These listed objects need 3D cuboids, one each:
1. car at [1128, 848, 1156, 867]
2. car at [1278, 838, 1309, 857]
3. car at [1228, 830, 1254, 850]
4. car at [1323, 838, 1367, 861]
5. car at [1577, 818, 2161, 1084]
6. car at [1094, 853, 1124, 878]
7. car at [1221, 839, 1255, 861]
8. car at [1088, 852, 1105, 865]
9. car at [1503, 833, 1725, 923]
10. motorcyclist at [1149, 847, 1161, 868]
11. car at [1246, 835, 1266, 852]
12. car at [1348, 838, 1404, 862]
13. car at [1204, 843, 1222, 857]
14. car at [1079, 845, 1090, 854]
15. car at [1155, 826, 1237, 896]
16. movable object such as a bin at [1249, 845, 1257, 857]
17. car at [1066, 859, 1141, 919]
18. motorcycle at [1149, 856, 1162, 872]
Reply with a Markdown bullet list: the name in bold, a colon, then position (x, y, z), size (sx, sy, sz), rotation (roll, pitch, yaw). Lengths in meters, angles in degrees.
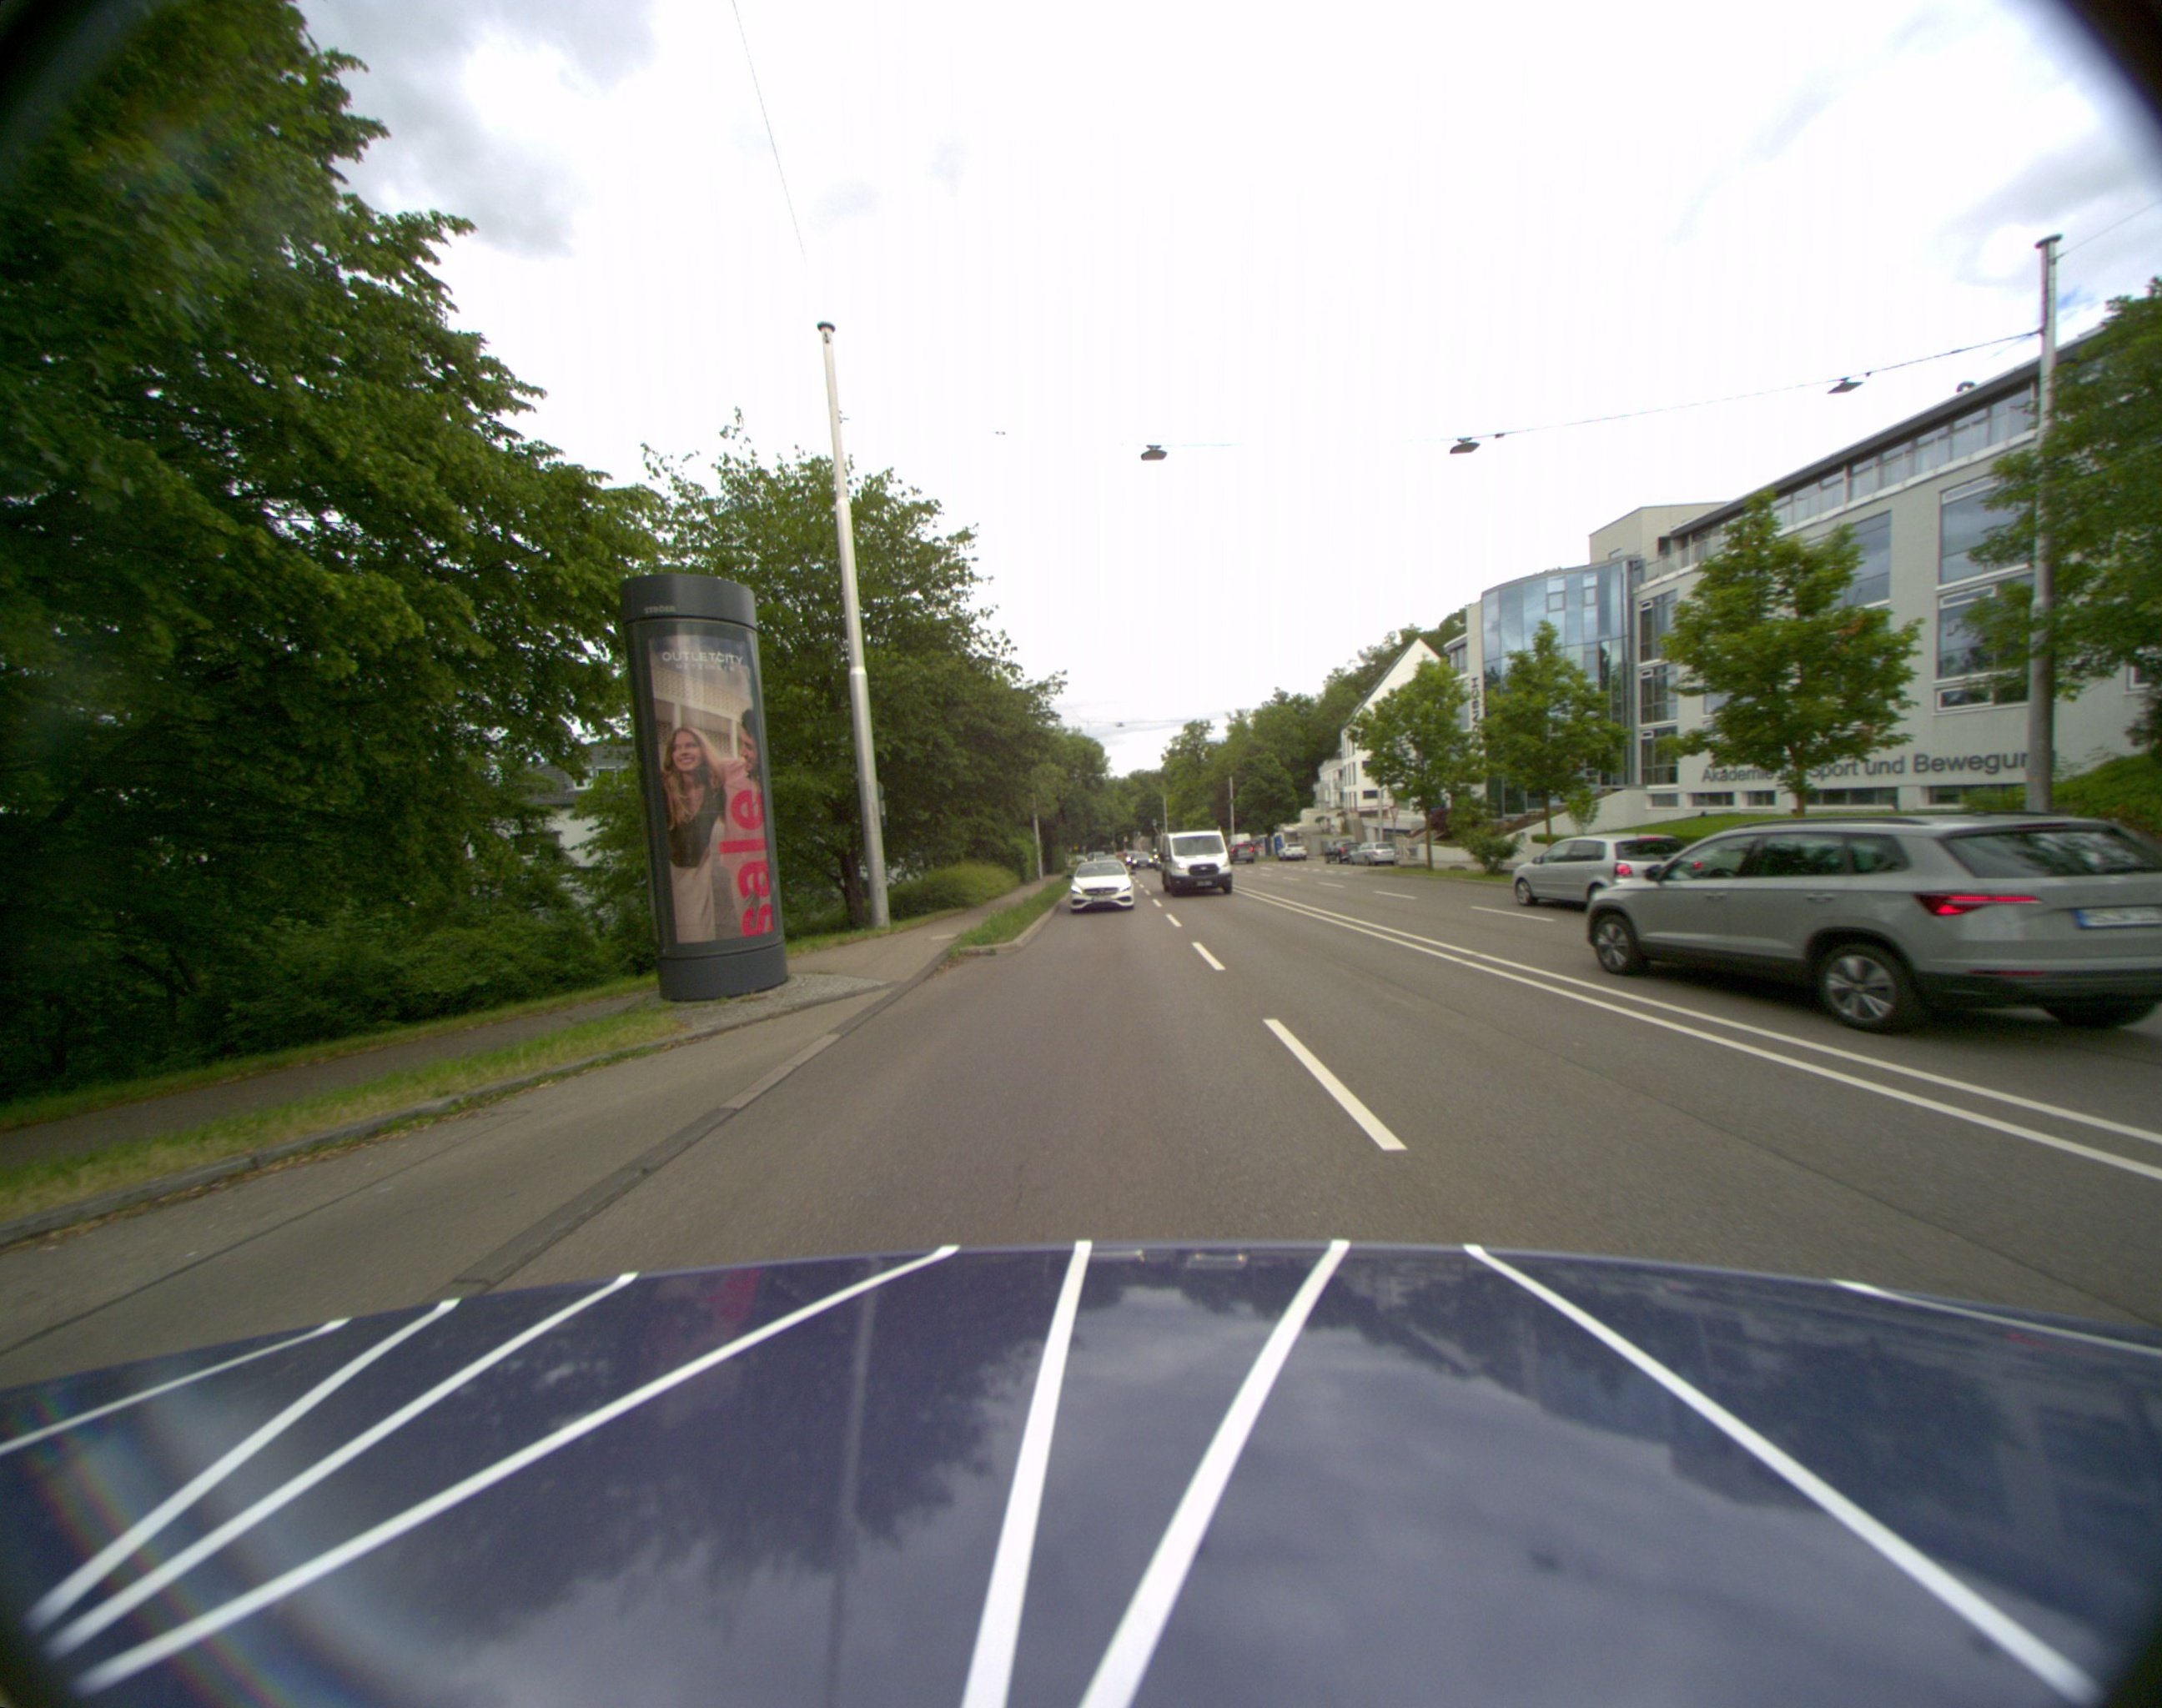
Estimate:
- **car**: position (5.266, 0.303, 66.029), size (1.998, 1.540, 4.000), rotation (-3, 0, 1)
- **car**: position (17.769, -0.533, 63.807), size (1.672, 1.495, 4.239), rotation (-2, 1, 4)
- **car**: position (22.153, -1.934, 105.529), size (1.998, 2.512, 6.533), rotation (-4, 1, 0)
- **car**: position (17.793, -0.299, 51.416), size (1.677, 1.420, 4.090), rotation (-3, 1, 3)
- **car**: position (6.506, 0.552, 6.560), size (1.789, 1.530, 4.075), rotation (-3, 0, 1)
- **car**: position (1.793, 0.713, 49.808), size (1.734, 1.403, 3.999), rotation (-4, 1, 0)
- **car**: position (13.193, -0.337, 64.050), size (1.768, 1.699, 4.870), rotation (-4, 0, 0)
- **car**: position (2.099, 0.593, 103.487), size (1.999, 1.647, 4.435), rotation (-4, 1, -2)
- **car**: position (9.968, 0.385, 14.620), size (1.569, 1.423, 3.891), rotation (-4, 0, 2)
- **motorcyclist**: position (5.545, 0.250, 56.810), size (0.619, 1.463, 0.930), rotation (-5, 1, -1)
- **car**: position (20.821, -1.260, 90.447), size (1.810, 1.741, 4.252), rotation (-4, 1, 6)
- **car**: position (17.784, -0.256, 45.985), size (1.677, 1.420, 4.417), rotation (0, 1, 0)
- **car**: position (15.395, -0.460, 89.059), size (1.804, 1.533, 3.924), rotation (-3, 1, 7)
- **car**: position (0.824, -1.021, 166.260), size (1.999, 1.881, 3.998), rotation (-2, 1, -4)
- **car**: position (3.987, 0.224, 27.524), size (1.998, 2.161, 6.268), rotation (-3, 0, 1)
- **movable object such as a bin**: position (16.153, -0.295, 71.411), size (0.589, 1.131, 0.645), rotation (-3, 1, 9)
- **car**: position (0.574, 0.903, 21.225), size (1.821, 1.339, 3.999), rotation (-4, 1, 0)
- **motorcycle**: position (5.602, 0.759, 57.080), size (0.574, 1.120, 2.295), rotation (-5, 1, -1)
